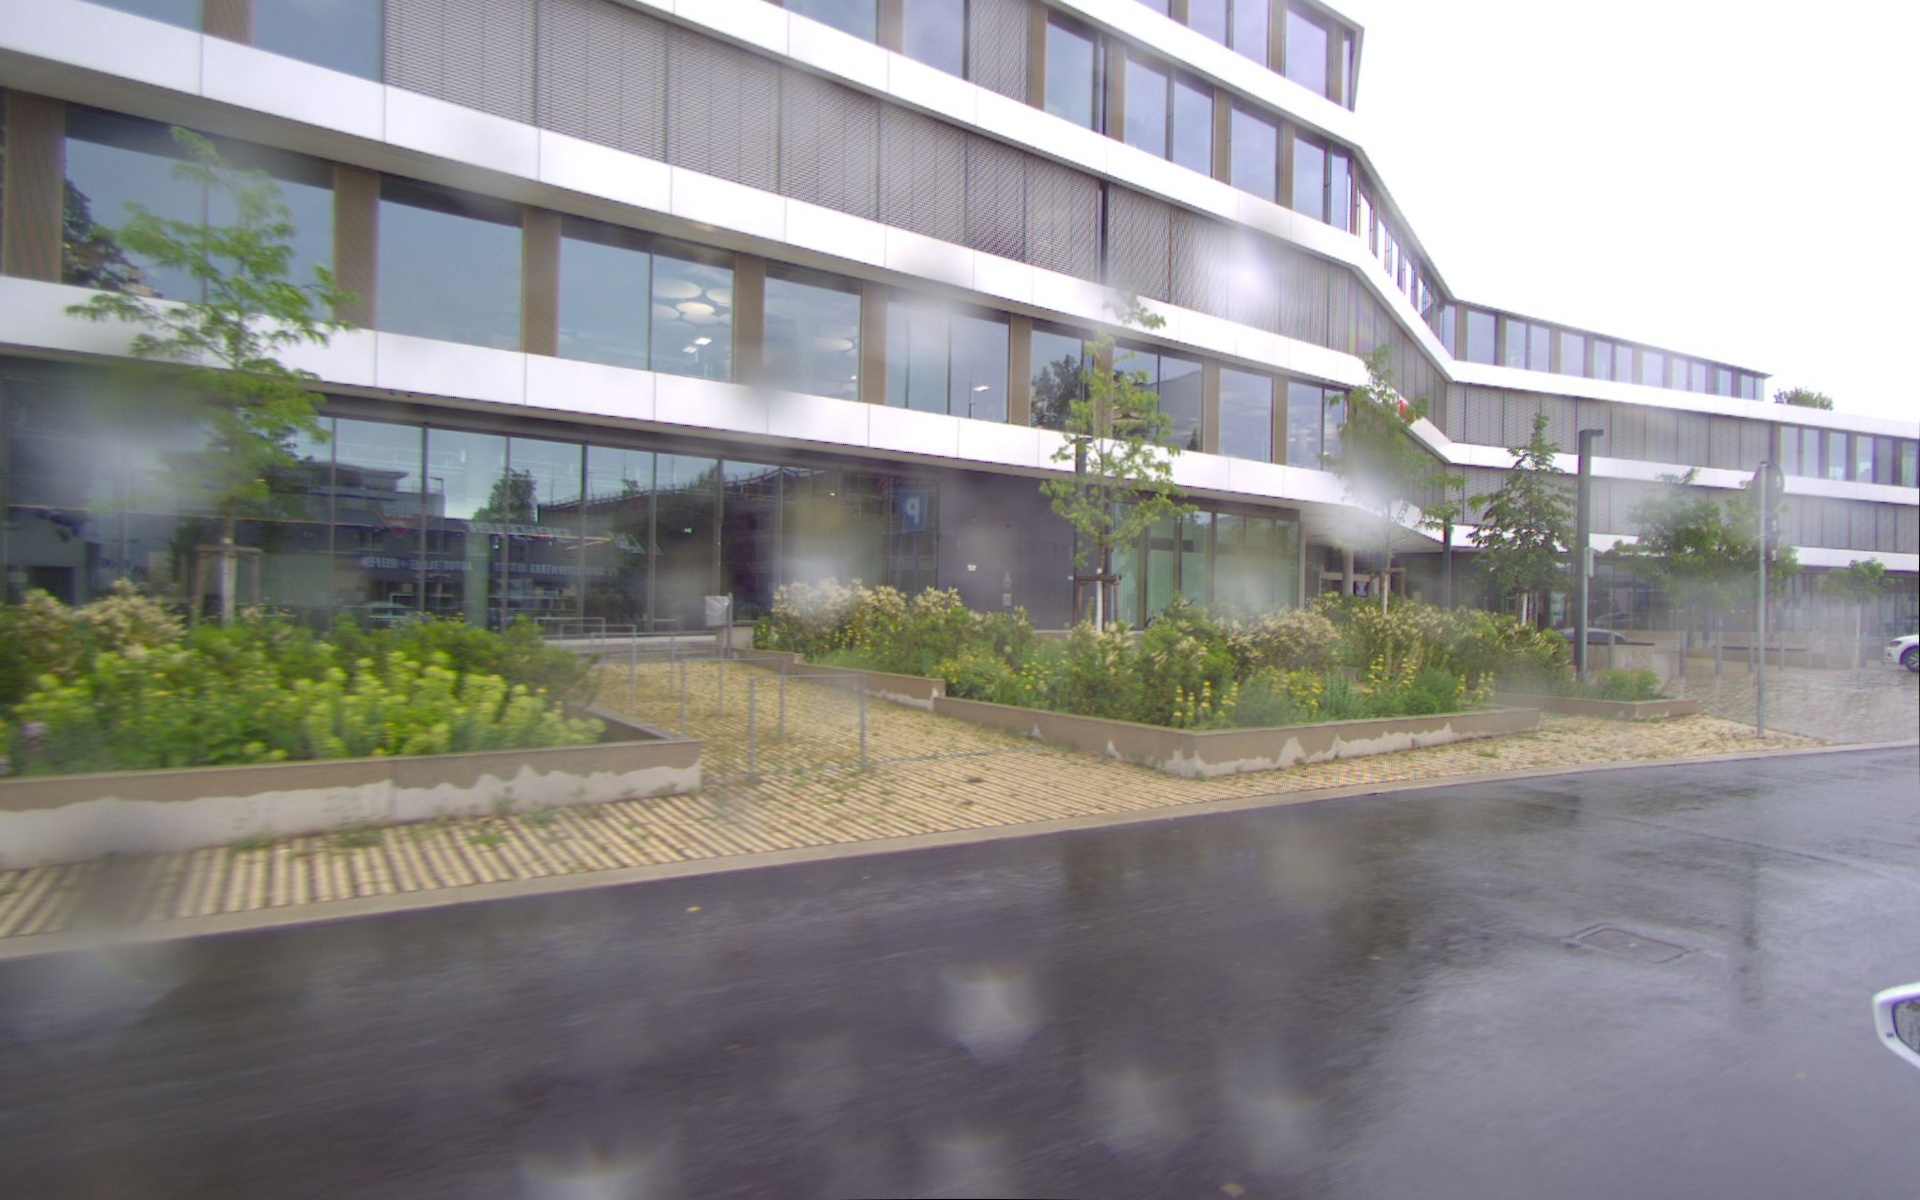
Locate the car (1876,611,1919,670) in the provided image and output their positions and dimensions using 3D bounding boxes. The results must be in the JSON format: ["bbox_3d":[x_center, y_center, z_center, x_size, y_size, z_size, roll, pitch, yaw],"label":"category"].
[{"bbox_3d":[24.934,1.015,24.192,1.877,1.442,3.906,1,0,-32],"label":"car"}]
